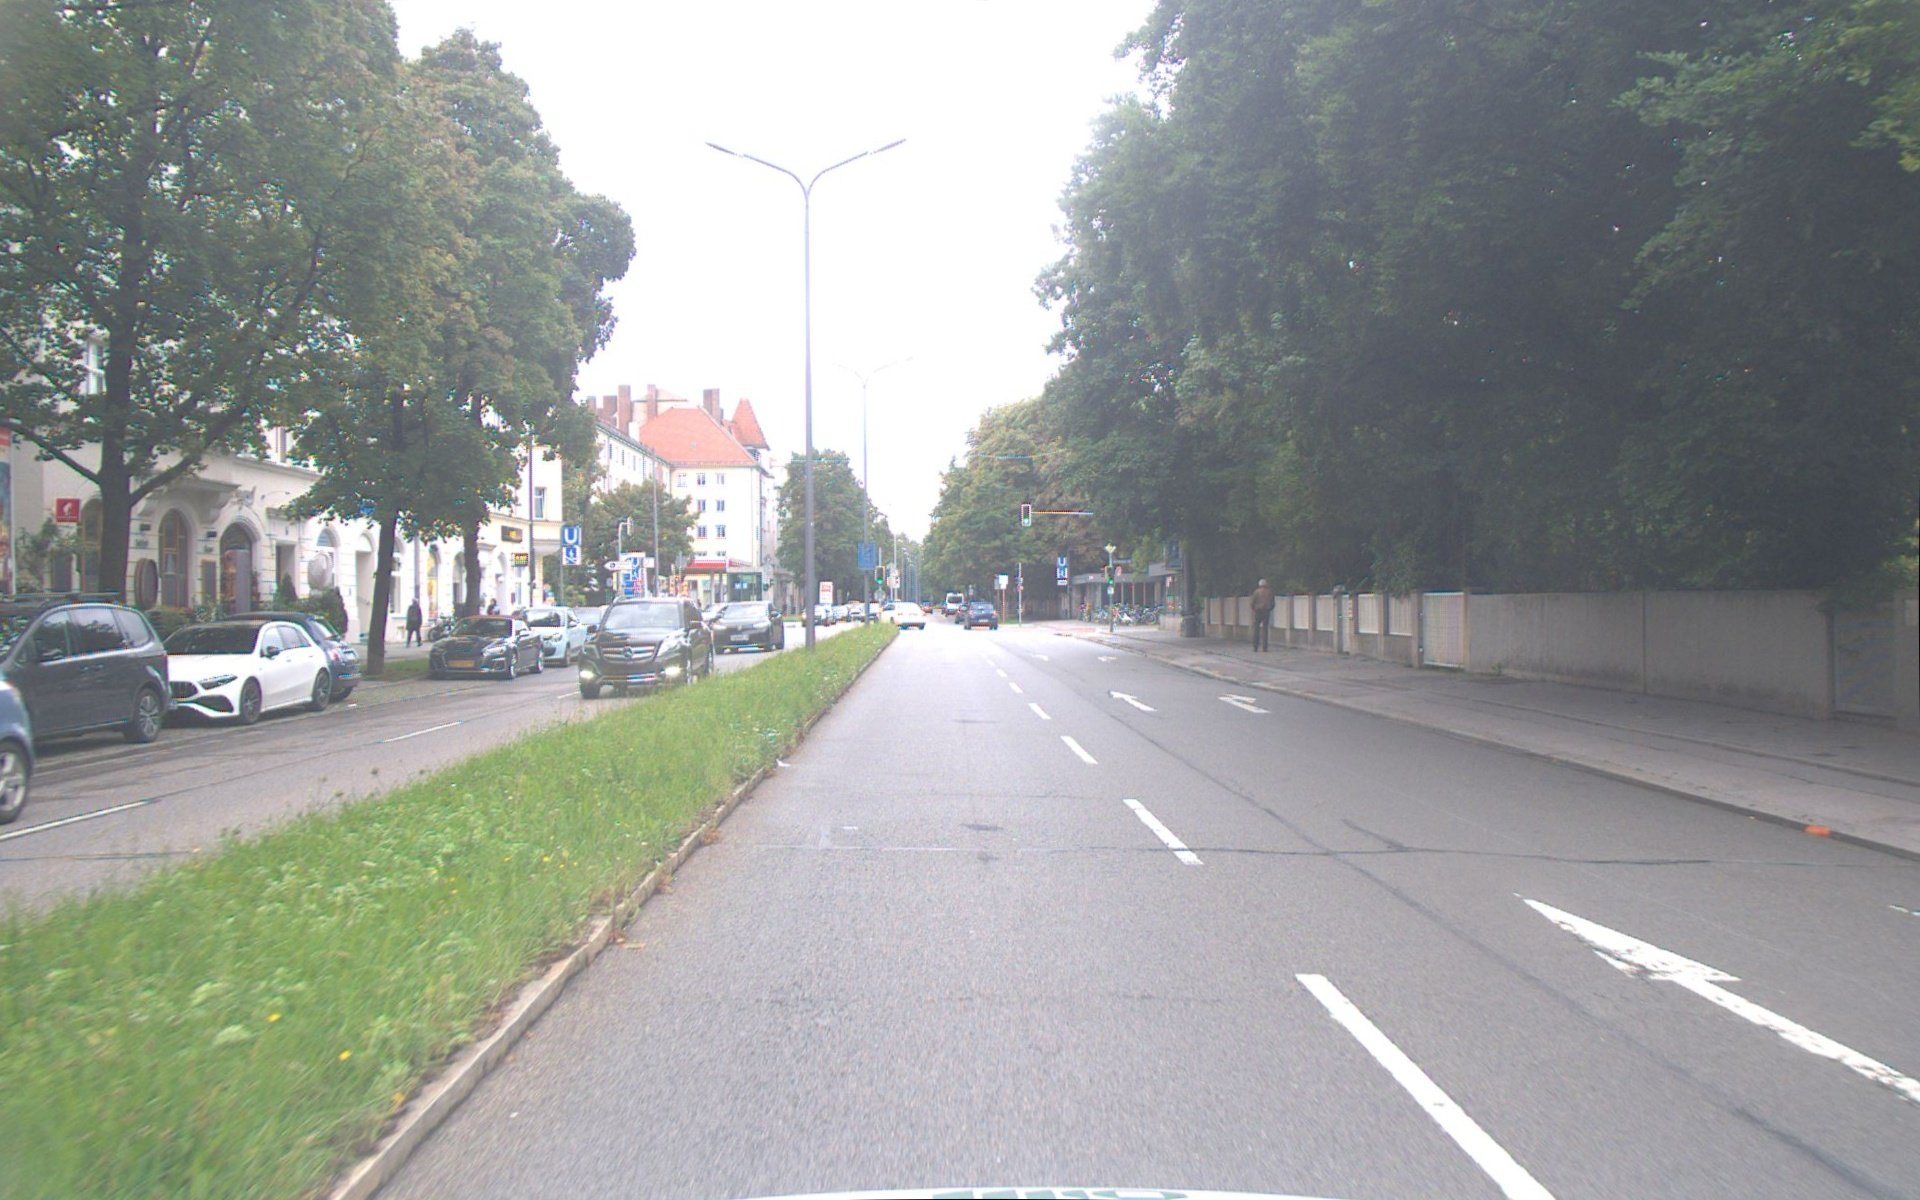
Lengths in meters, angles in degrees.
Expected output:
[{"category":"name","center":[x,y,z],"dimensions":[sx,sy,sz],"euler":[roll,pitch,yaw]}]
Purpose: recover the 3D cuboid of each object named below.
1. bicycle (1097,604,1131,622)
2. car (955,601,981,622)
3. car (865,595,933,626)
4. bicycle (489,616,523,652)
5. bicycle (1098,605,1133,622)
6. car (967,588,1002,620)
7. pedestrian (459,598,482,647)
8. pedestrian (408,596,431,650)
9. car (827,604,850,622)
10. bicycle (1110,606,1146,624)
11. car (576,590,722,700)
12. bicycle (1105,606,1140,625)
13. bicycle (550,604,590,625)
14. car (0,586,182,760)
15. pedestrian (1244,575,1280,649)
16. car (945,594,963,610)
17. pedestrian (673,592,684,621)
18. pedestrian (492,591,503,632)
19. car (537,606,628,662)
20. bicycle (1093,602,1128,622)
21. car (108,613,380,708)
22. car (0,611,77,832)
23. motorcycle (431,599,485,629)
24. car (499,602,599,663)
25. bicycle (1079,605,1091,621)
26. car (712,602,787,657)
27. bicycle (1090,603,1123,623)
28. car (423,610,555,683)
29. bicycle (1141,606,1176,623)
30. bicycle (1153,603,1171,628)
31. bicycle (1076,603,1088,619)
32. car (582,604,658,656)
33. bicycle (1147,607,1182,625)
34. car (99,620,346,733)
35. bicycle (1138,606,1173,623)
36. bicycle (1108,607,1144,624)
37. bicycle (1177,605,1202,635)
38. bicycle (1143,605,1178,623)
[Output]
[{"category":"bicycle","center":[9.512,0.798,102.195],"dimensions":[2.097,1.105,0.603],"euler":[-1,0,7]},{"category":"car","center":[0.566,0.816,117.723],"dimensions":[1.743,1.500,3.892],"euler":[0,0,-1]},{"category":"car","center":[-3.391,0.568,91.560],"dimensions":[1.760,1.675,4.732],"euler":[0,0,-30]},{"category":"bicycle","center":[-14.570,1.082,53.042],"dimensions":[0.542,1.135,1.860],"euler":[0,0,-32]},{"category":"bicycle","center":[9.565,0.831,101.466],"dimensions":[2.097,1.032,0.603],"euler":[-1,0,7]},{"category":"car","center":[1.330,0.199,91.209],"dimensions":[1.819,1.713,3.999],"euler":[-1,0,-1]},{"category":"pedestrian","center":[-17.416,0.785,58.845],"dimensions":[0.585,1.726,0.937],"euler":[0,0,-28]},{"category":"pedestrian","center":[-17.440,0.726,53.367],"dimensions":[0.532,1.726,0.770],"euler":[0,0,-3]},{"category":"car","center":[-10.067,1.052,137.219],"dimensions":[1.724,1.486,3.999],"euler":[-1,0,-1]},{"category":"bicycle","center":[10.084,0.910,99.301],"dimensions":[2.097,1.032,0.634],"euler":[-1,0,7]},{"category":"car","center":[-5.328,0.720,28.839],"dimensions":[1.733,1.708,4.368],"euler":[-2,0,-1]},{"category":"bicycle","center":[9.861,0.937,100.174],"dimensions":[2.097,1.089,0.603],"euler":[-1,0,7]},{"category":"bicycle","center":[-24.134,0.905,102.437],"dimensions":[2.352,1.273,0.789],"euler":[1,-1,-12]},{"category":"car","center":[-10.620,0.741,18.351],"dimensions":[1.773,1.758,4.766],"euler":[-1,0,-1]},{"category":"pedestrian","center":[8.192,0.315,44.847],"dimensions":[0.762,1.976,0.802],"euler":[-2,0,-1]},{"category":"car","center":[-0.669,0.201,181.961],"dimensions":[1.953,1.787,3.999],"euler":[-1,0,-2]},{"category":"pedestrian","center":[-17.119,0.401,100.598],"dimensions":[0.522,1.725,0.577],"euler":[-1,0,7]},{"category":"pedestrian","center":[-18.993,0.476,67.894],"dimensions":[0.415,1.660,0.780],"euler":[0,0,-16]},{"category":"car","center":[-11.083,0.970,48.806],"dimensions":[1.774,1.533,4.290],"euler":[0,0,-1]},{"category":"bicycle","center":[9.369,0.753,102.930],"dimensions":[2.097,1.199,0.603],"euler":[-1,0,7]},{"category":"car","center":[-12.007,0.994,27.909],"dimensions":[3.811,1.489,1.731],"euler":[-1,0,-3]},{"category":"car","center":[-7.610,0.902,10.535],"dimensions":[1.774,1.533,4.056],"euler":[-3,0,-1]},{"category":"motorcycle","center":[-19.181,0.539,63.201],"dimensions":[0.598,1.150,1.977],"euler":[-1,-1,38]},{"category":"car","center":[-10.998,0.840,44.507],"dimensions":[1.774,1.533,3.959],"euler":[0,0,-1]},{"category":"bicycle","center":[8.123,0.820,107.723],"dimensions":[0.545,1.032,2.014],"euler":[-1,0,-3]},{"category":"car","center":[-6.770,0.919,53.617],"dimensions":[1.837,1.612,4.620],"euler":[-3,0,-1]},{"category":"bicycle","center":[9.327,0.819,105.231],"dimensions":[2.097,1.240,0.603],"euler":[-1,0,7]},{"category":"car","center":[-10.772,1.016,38.135],"dimensions":[1.774,1.533,4.644],"euler":[0,0,-1]},{"category":"bicycle","center":[12.152,0.869,101.209],"dimensions":[2.097,1.032,0.634],"euler":[-1,0,7]},{"category":"bicycle","center":[9.477,0.718,77.757],"dimensions":[0.587,1.141,1.889],"euler":[-1,-1,-1]},{"category":"bicycle","center":[8.125,0.732,110.457],"dimensions":[0.545,1.032,2.014],"euler":[-1,0,-3]},{"category":"car","center":[-10.952,0.943,53.415],"dimensions":[1.615,1.613,3.790],"euler":[0,0,1]},{"category":"bicycle","center":[12.319,0.960,99.715],"dimensions":[2.097,1.032,0.634],"euler":[-1,0,7]},{"category":"car","center":[-10.626,1.047,24.215],"dimensions":[1.691,1.427,4.403],"euler":[-1,0,-1]},{"category":"bicycle","center":[12.058,0.873,102.001],"dimensions":[2.097,1.032,0.634],"euler":[-1,0,7]},{"category":"bicycle","center":[9.900,0.921,98.673],"dimensions":[2.097,1.032,0.603],"euler":[-1,0,7]},{"category":"bicycle","center":[8.688,0.734,62.596],"dimensions":[0.609,1.109,2.025],"euler":[-1,0,-1]},{"category":"bicycle","center":[12.161,0.861,100.441],"dimensions":[2.097,1.032,0.634],"euler":[-1,0,7]}]
